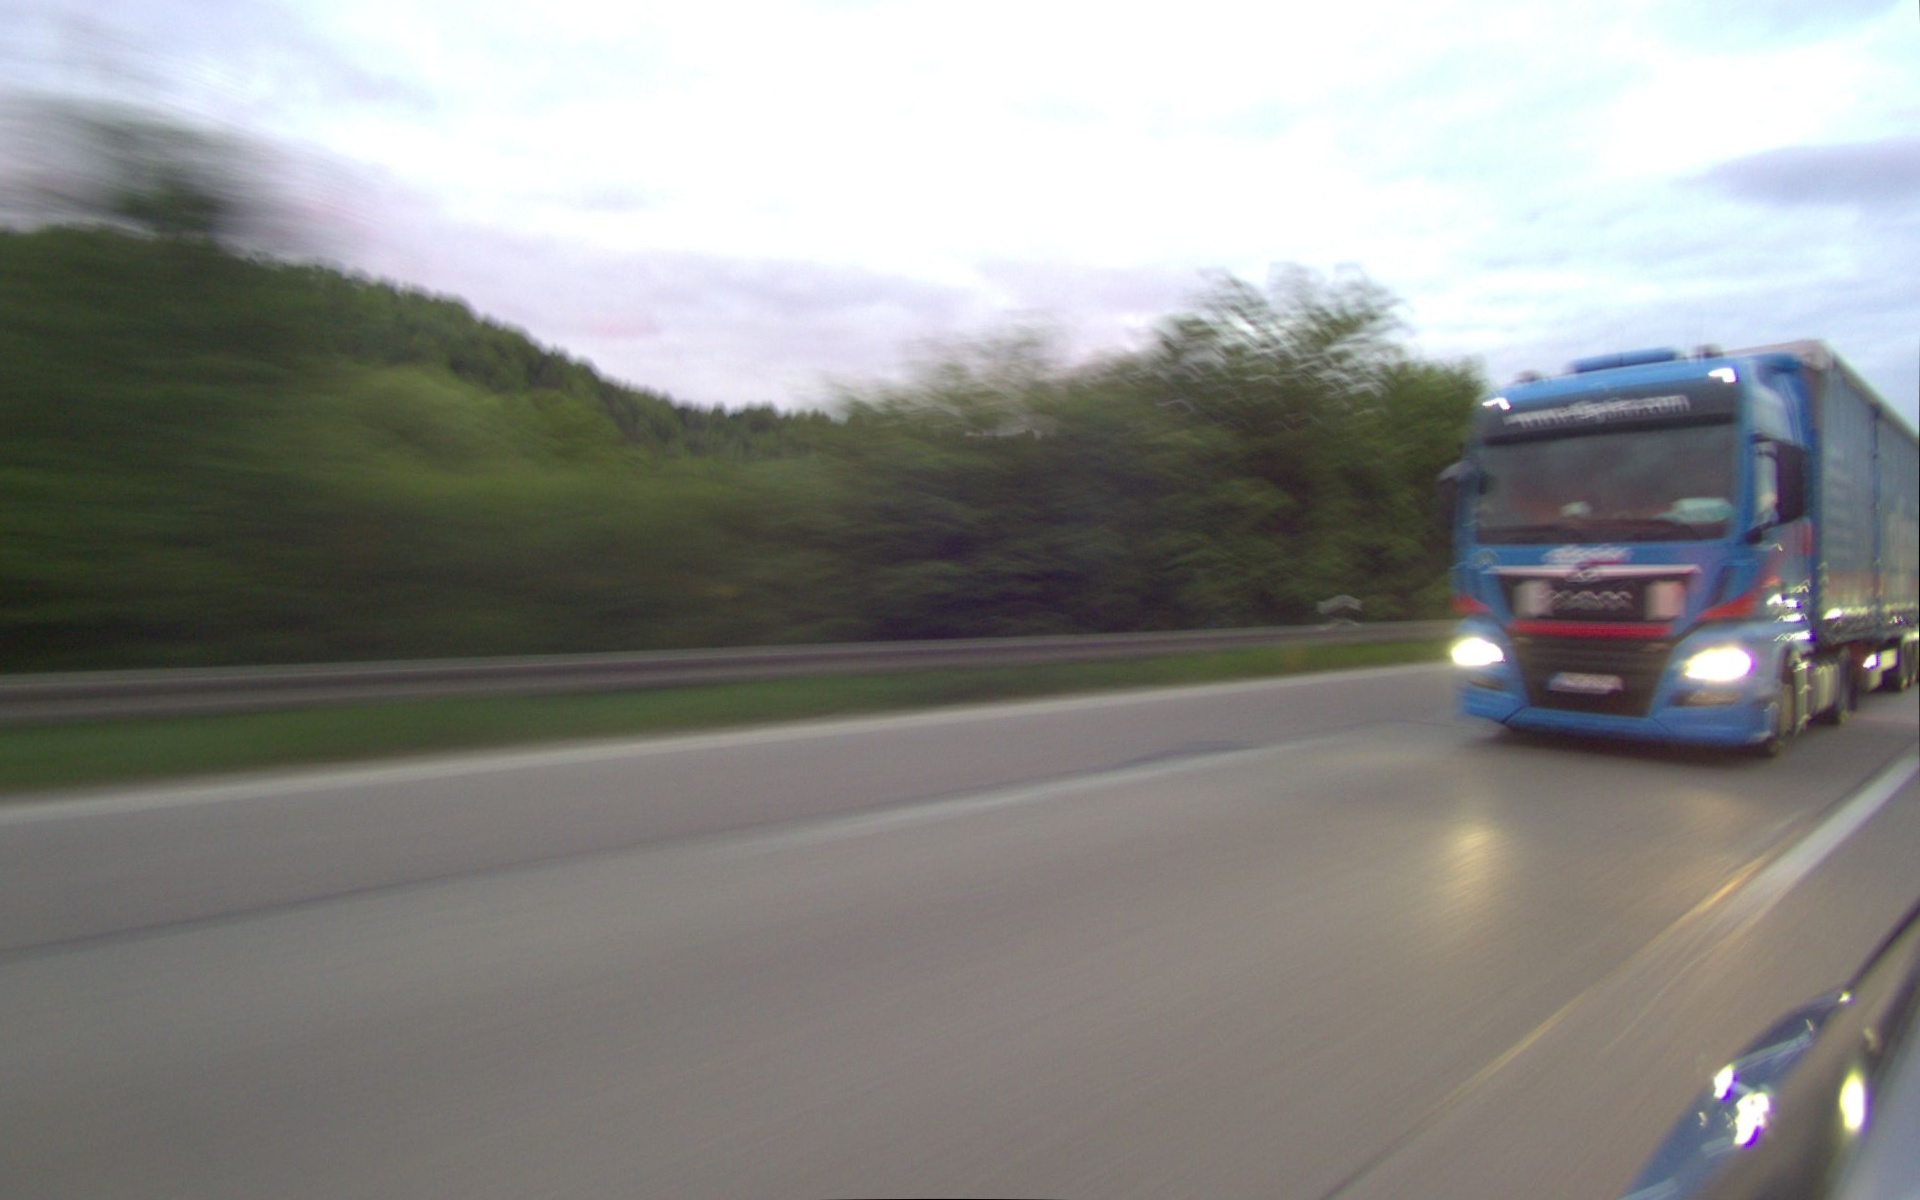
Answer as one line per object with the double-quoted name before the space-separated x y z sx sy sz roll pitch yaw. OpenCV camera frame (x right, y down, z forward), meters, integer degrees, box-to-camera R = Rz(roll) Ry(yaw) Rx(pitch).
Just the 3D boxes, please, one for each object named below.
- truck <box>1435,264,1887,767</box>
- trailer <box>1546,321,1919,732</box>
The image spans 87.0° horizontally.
"truck" 7.863 -0.714 11.081 5.747 4.047 2.741 0 1 -41
"trailer" 13.076 -0.800 15.694 13.501 4.138 2.776 0 1 -41
